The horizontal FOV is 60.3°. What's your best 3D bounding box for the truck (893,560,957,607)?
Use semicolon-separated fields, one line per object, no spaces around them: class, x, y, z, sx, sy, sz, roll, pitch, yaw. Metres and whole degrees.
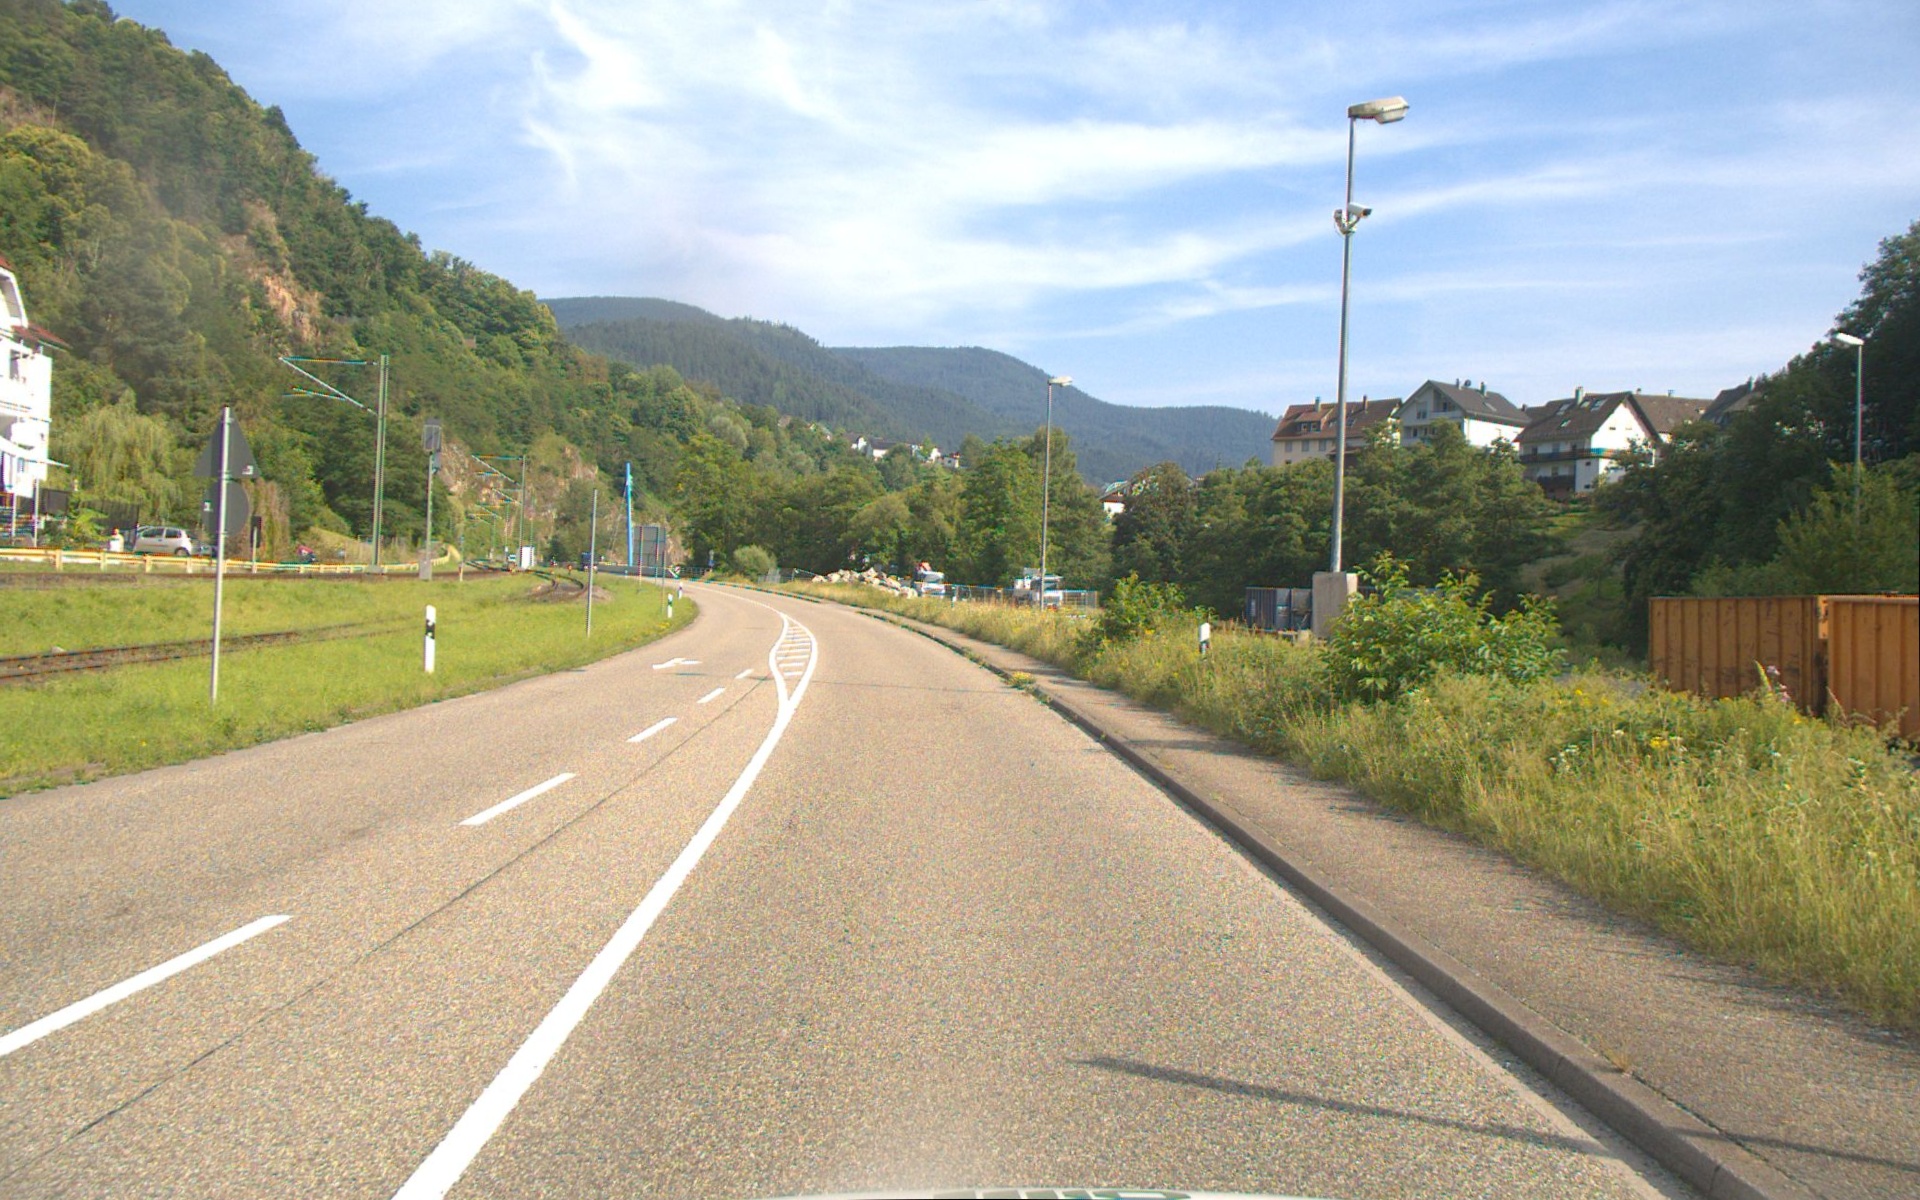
truck;-3.172;-1.496;147.687;3.057;3.847;8.597;3;1;-19

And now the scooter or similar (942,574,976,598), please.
scooter or similar;-0.067;-1.223;147.404;1.961;2.048;3.982;1;1;-16

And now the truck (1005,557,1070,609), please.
truck;6.050;-1.395;131.286;3.048;3.847;8.623;3;0;-11

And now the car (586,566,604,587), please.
car;-47.348;-3.065;214.469;2.090;2.661;5.461;0;1;-13

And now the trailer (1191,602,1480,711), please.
trailer;7.121;0.981;33.235;2.738;1.499;9.878;5;0;-5

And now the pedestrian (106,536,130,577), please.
pedestrian;-34.406;-1.764;67.589;0.595;1.644;0.676;3;0;-9

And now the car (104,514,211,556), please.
car;-38.026;-3.055;78.432;4.066;1.721;1.997;3;0;-7

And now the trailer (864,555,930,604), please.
trailer;-6.076;-1.932;156.418;3.315;4.348;9.854;3;0;-19
